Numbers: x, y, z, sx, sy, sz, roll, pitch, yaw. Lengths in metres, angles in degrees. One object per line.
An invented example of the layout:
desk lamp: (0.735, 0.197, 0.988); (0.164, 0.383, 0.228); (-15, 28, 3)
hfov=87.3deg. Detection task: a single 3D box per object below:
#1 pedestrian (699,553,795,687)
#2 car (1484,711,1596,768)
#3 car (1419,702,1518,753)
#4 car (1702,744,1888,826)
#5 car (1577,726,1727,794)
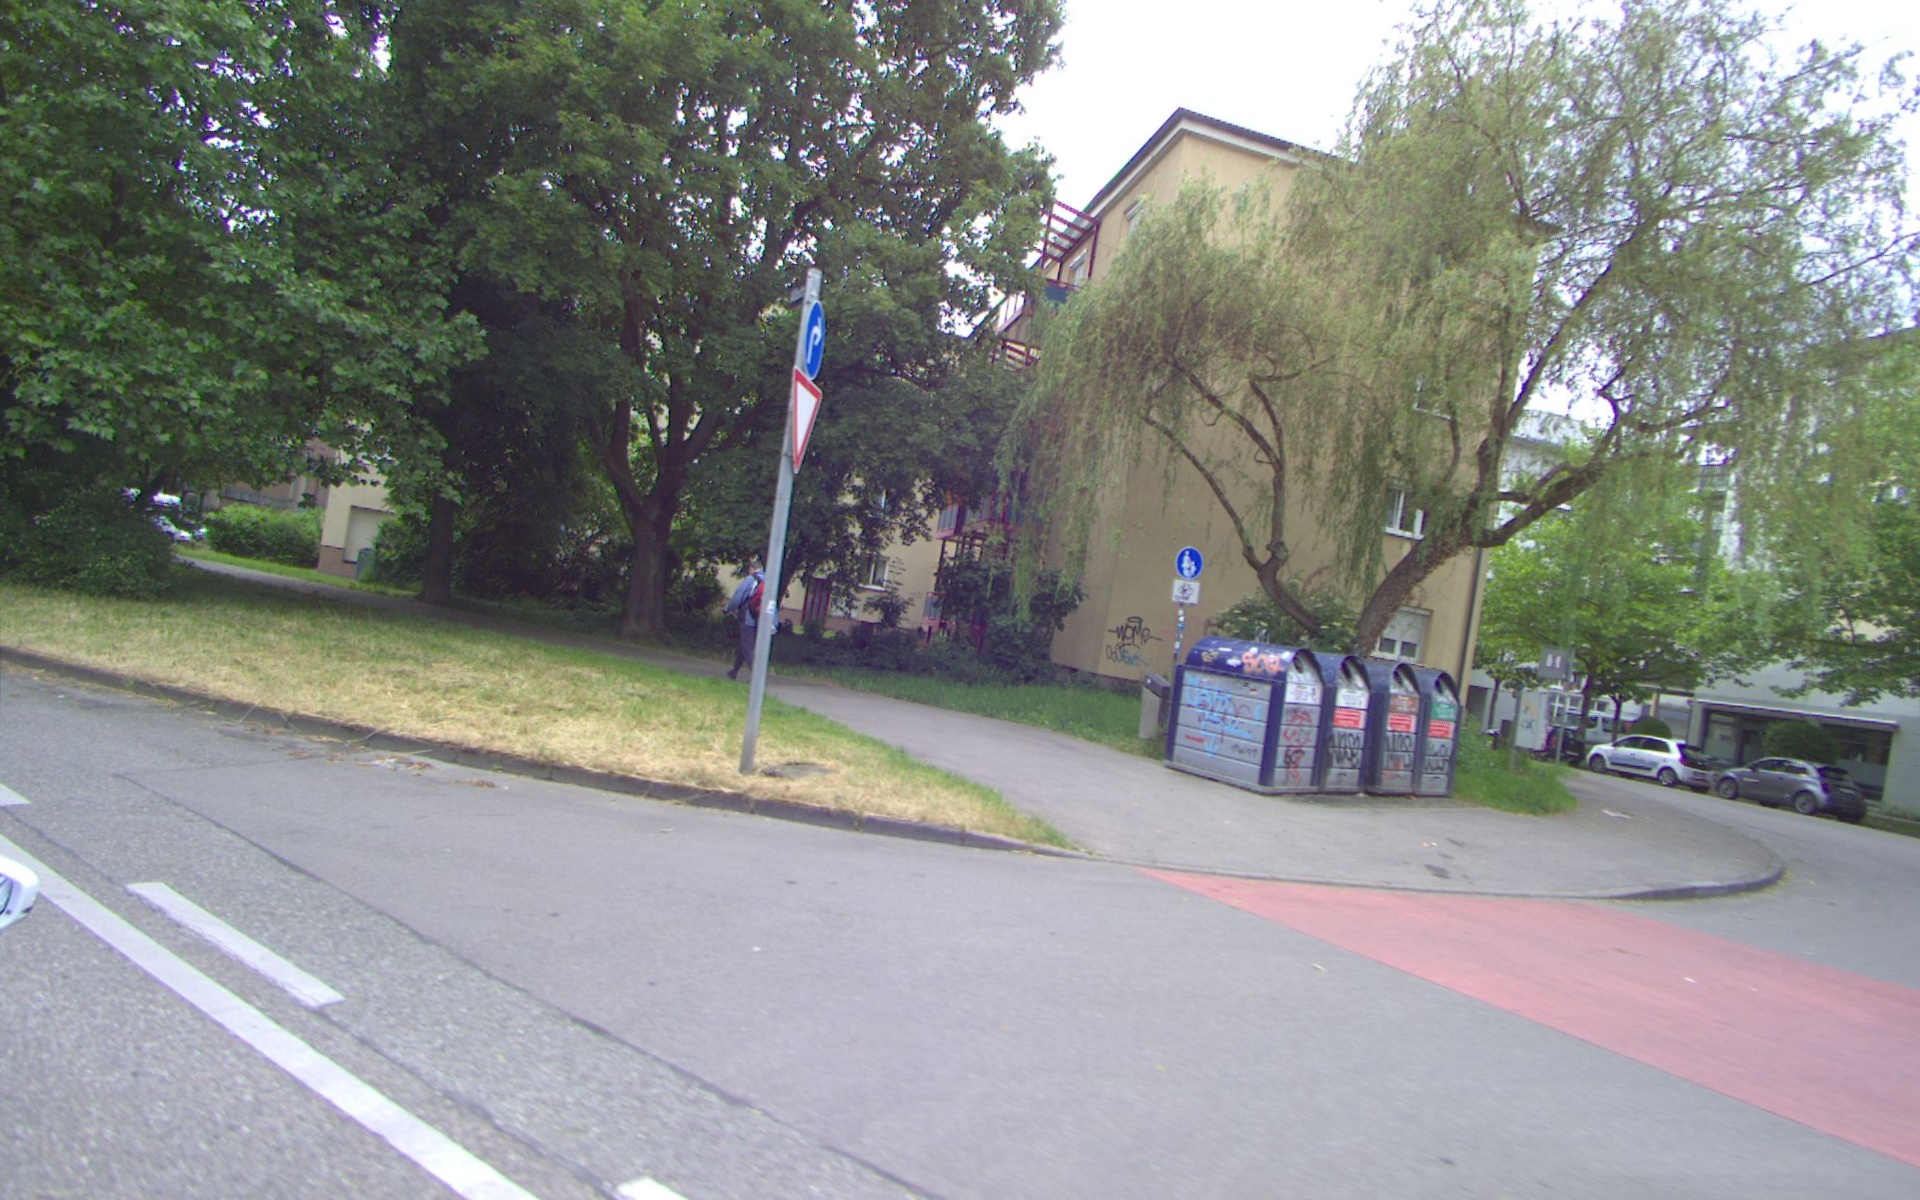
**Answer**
pedestrian: (-3.117, 0.311, 14.767); (0.879, 1.816, 0.759); (8, -1, 22)
car: (21.846, 5.233, 38.037); (1.653, 1.528, 3.335); (8, -2, -17)
car: (20.831, 5.200, 41.360); (1.653, 1.528, 3.335); (8, -2, -17)
car: (23.814, 5.248, 28.879); (1.770, 1.528, 3.718); (8, -2, -10)
car: (22.941, 5.274, 33.509); (1.773, 1.528, 3.711); (8, -2, -17)
